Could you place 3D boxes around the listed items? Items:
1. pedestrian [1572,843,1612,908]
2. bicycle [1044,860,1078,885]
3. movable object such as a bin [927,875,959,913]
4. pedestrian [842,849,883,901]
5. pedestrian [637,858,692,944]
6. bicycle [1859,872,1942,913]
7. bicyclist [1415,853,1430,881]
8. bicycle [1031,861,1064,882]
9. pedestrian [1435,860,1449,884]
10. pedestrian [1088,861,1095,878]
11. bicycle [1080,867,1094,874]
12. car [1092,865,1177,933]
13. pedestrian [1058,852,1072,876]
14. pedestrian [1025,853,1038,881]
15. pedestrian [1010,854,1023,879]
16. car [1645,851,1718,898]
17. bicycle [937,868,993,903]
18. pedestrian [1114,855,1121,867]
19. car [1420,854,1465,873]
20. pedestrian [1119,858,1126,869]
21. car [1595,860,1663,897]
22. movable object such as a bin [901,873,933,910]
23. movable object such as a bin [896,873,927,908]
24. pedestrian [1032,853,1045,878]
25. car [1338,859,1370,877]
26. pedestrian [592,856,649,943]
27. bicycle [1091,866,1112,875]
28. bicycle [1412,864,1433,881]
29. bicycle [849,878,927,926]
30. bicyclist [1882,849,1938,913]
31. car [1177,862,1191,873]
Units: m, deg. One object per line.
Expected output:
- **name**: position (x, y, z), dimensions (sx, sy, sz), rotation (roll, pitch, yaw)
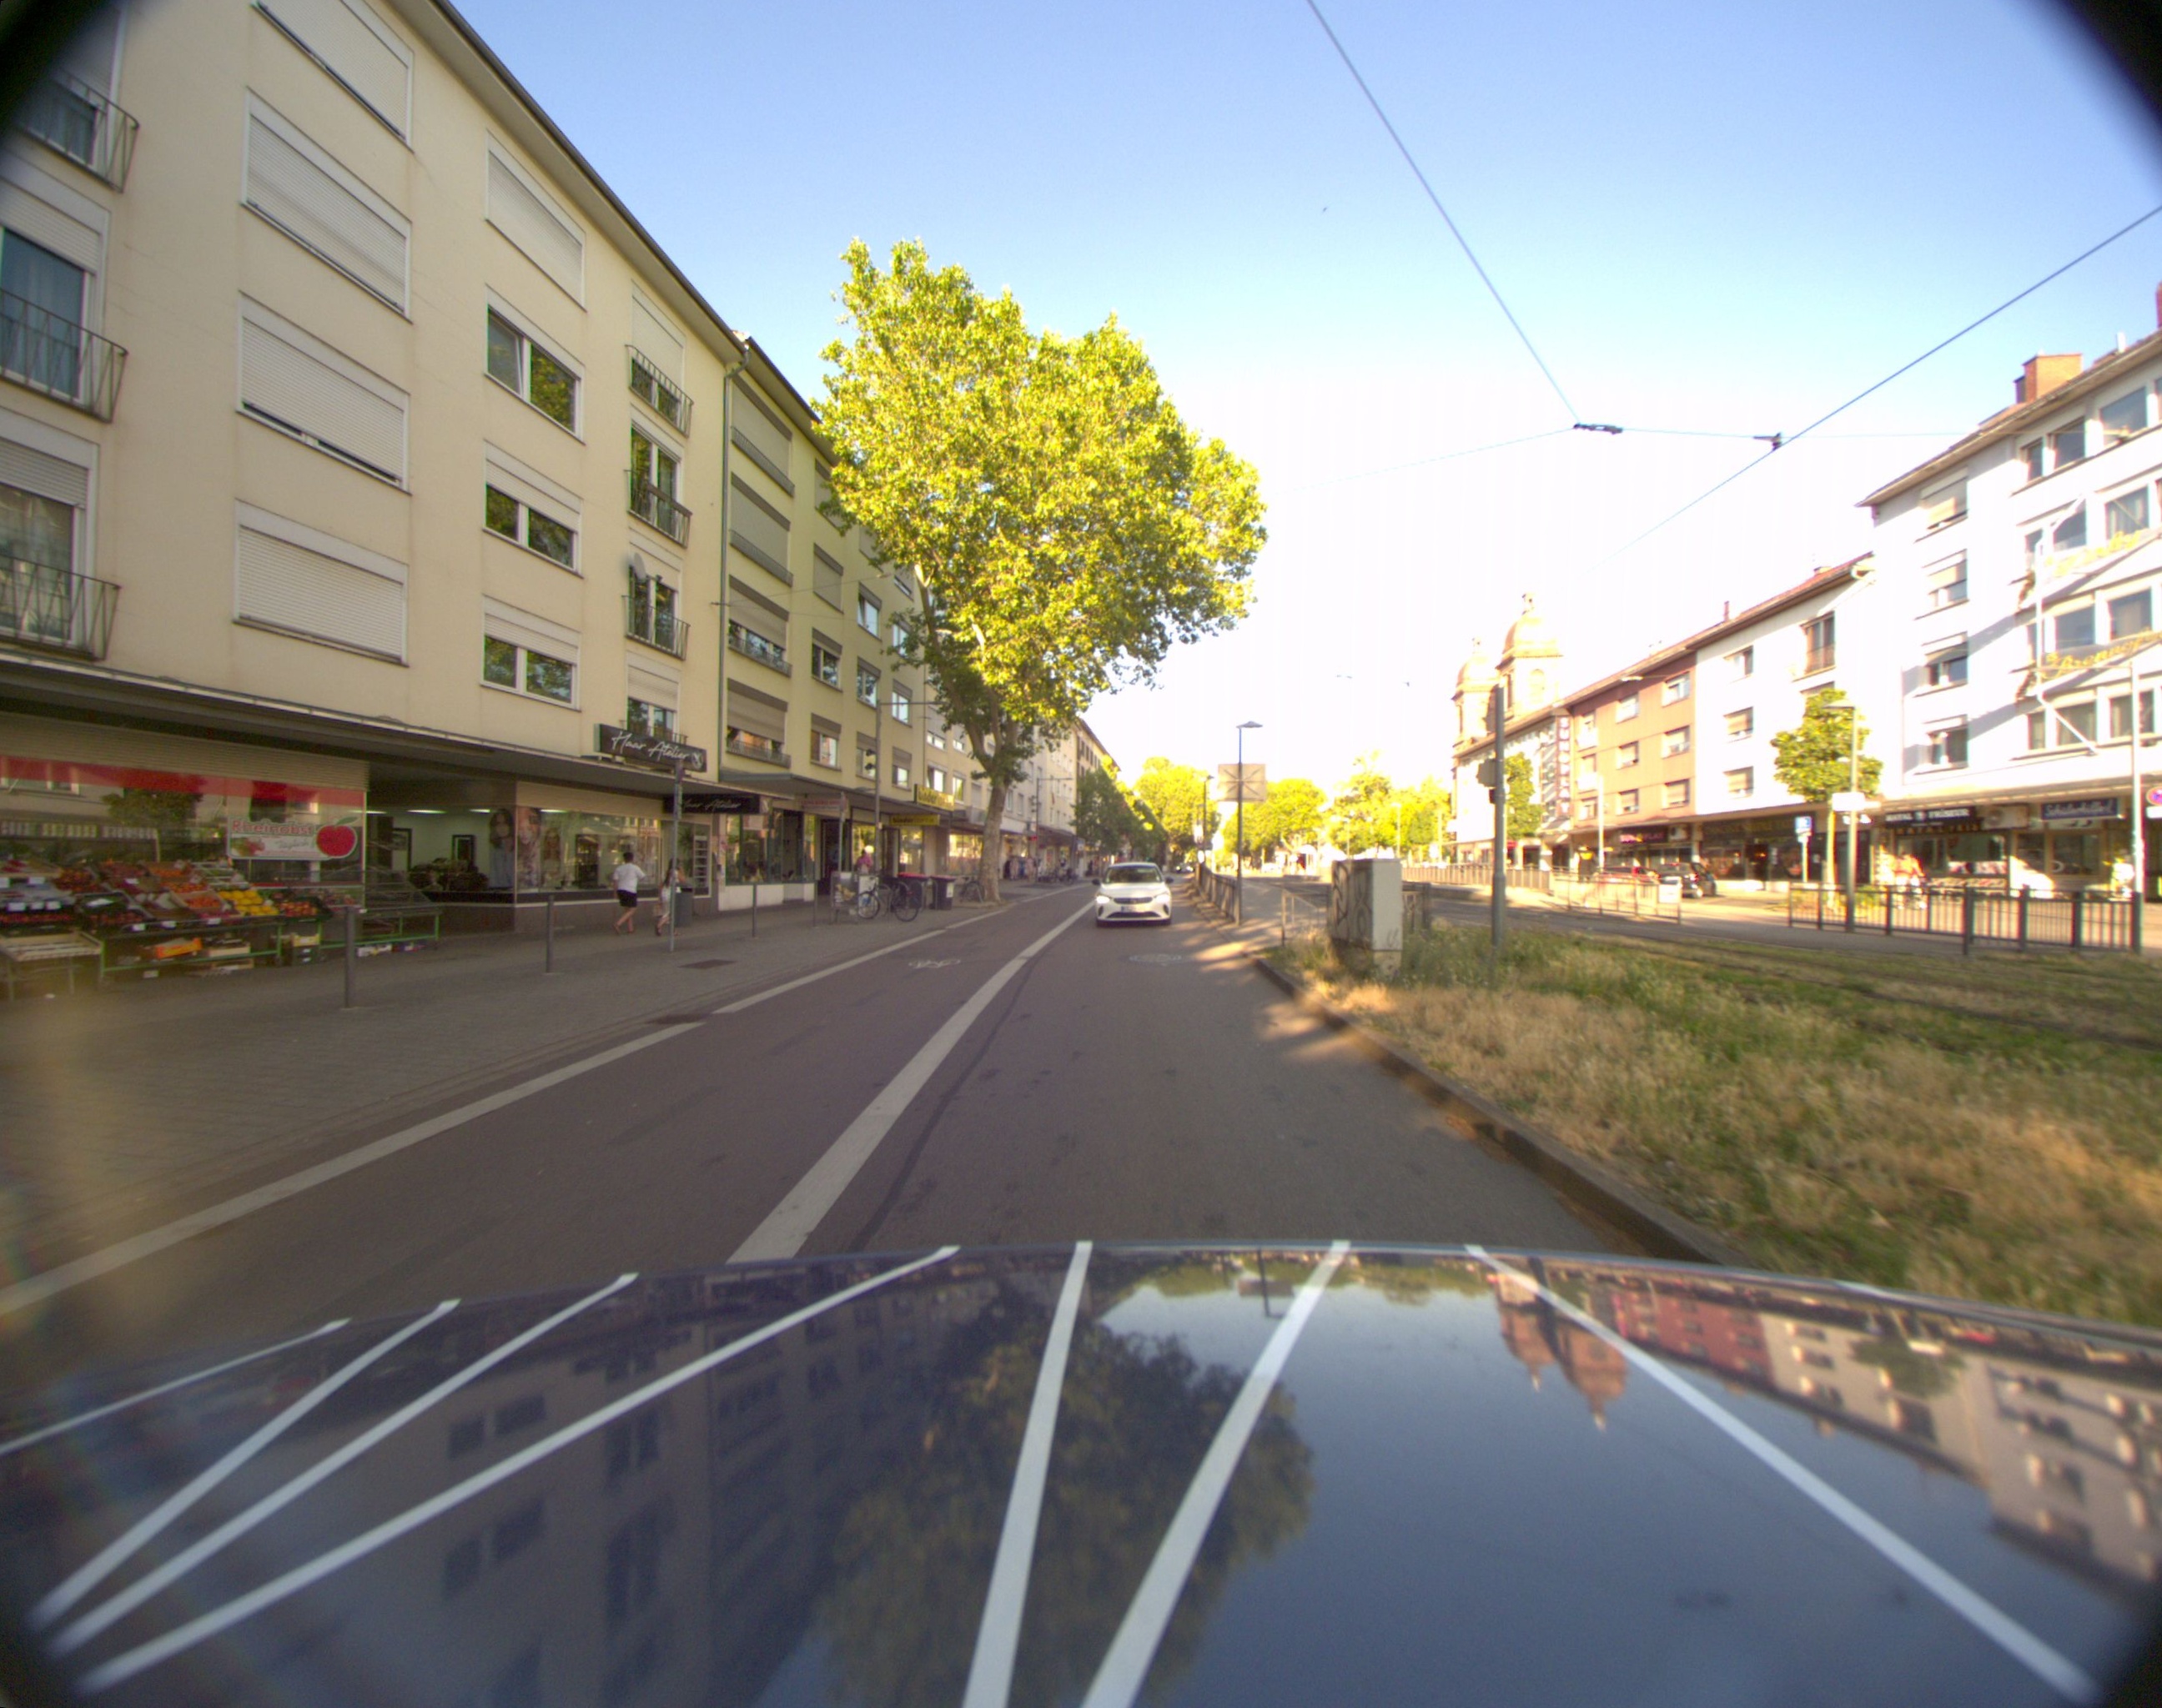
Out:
- **pedestrian**: position (14.494, 0.603, 21.563), dimensions (0.743, 1.838, 0.590), rotation (0, 0, 3)
- **bicycle**: position (-1.160, 1.070, 44.673), dimensions (1.788, 1.304, 0.695), rotation (5, 1, 20)
- **movable object such as a bin**: position (-4.278, 1.224, 23.545), dimensions (0.723, 1.096, 0.645), rotation (4, 1, 15)
- **pedestrian**: position (-7.666, 0.727, 26.684), dimensions (0.969, 1.753, 1.134), rotation (1, 1, 9)
- **pedestrian**: position (-7.962, 0.876, 14.541), dimensions (0.636, 1.577, 0.627), rotation (2, 1, 7)
- **bicycle**: position (25.174, 1.159, 23.400), dimensions (0.706, 1.152, 2.201), rotation (0, 0, 17)
- **bicyclist**: position (24.615, 0.929, 54.761), dimensions (0.765, 2.002, 0.912), rotation (1, 0, 7)
- **bicycle**: position (-2.012, 1.044, 45.694), dimensions (1.795, 1.118, 0.663), rotation (5, 1, -19)
- **pedestrian**: position (26.638, 1.336, 56.102), dimensions (0.767, 1.777, 0.726), rotation (-2, 0, 11)
- **pedestrian**: position (0.957, 1.463, 71.190), dimensions (0.490, 1.558, 0.649), rotation (2, 0, 10)
- **bicycle**: position (0.531, 1.416, 66.125), dimensions (0.840, 0.569, 1.759), rotation (1, -1, -14)
- **car**: position (1.286, 1.000, 18.305), dimensions (1.826, 1.433, 3.829), rotation (-1, -1, 4)
- **pedestrian**: position (-1.200, 0.747, 56.435), dimensions (0.774, 1.789, 0.931), rotation (3, 0, 10)
- **pedestrian**: position (-2.946, 0.763, 45.176), dimensions (0.547, 1.619, 0.896), rotation (2, 0, 9)
- **pedestrian**: position (-3.903, 0.755, 45.905), dimensions (0.541, 1.493, 0.896), rotation (2, 0, 9)
- **car**: position (25.690, 0.854, 32.472), dimensions (3.777, 1.789, 1.859), rotation (-2, 0, -43)
- **bicycle**: position (-3.918, 1.071, 25.774), dimensions (1.721, 1.111, 0.745), rotation (0, 4, 8)
- **pedestrian**: position (5.207, 1.014, 108.896), dimensions (0.851, 1.644, 0.916), rotation (-2, 0, 8)
- **car**: position (30.024, 0.767, 63.073), dimensions (4.007, 1.477, 1.739), rotation (-2, 0, -39)
- **pedestrian**: position (6.288, 1.415, 115.698), dimensions (0.851, 1.644, 0.916), rotation (-2, 0, 8)
- **car**: position (25.529, 1.121, 35.362), dimensions (3.777, 1.482, 1.859), rotation (-2, 0, -43)
- **movable object such as a bin**: position (-5.092, 1.168, 23.596), dimensions (0.723, 1.066, 0.644), rotation (4, 1, 6)
- **movable object such as a bin**: position (-5.430, 1.155, 24.343), dimensions (0.722, 1.066, 0.645), rotation (2, 1, 27)
- **pedestrian**: position (-2.779, 0.753, 50.014), dimensions (0.569, 1.665, 1.070), rotation (2, 0, 9)
- **car**: position (26.643, 1.310, 74.390), dimensions (1.997, 1.706, 4.438), rotation (0, 0, 7)
- **pedestrian**: position (-8.733, 0.845, 14.416), dimensions (0.623, 1.577, 0.627), rotation (2, 1, 7)
- **bicycle**: position (1.784, 1.415, 65.916), dimensions (1.762, 0.773, 0.702), rotation (1, -1, -14)
- **bicycle**: position (24.617, 1.322, 54.799), dimensions (0.719, 1.223, 2.280), rotation (1, 0, 7)
- **bicycle**: position (-4.985, 1.218, 19.621), dimensions (1.909, 1.098, 0.519), rotation (2, 1, 14)
- **bicyclist**: position (25.040, 0.799, 22.979), dimensions (0.693, 1.875, 1.059), rotation (0, 0, 17)
- **car**: position (14.588, 1.863, 107.359), dimensions (1.717, 1.390, 4.001), rotation (-2, 0, 4)
